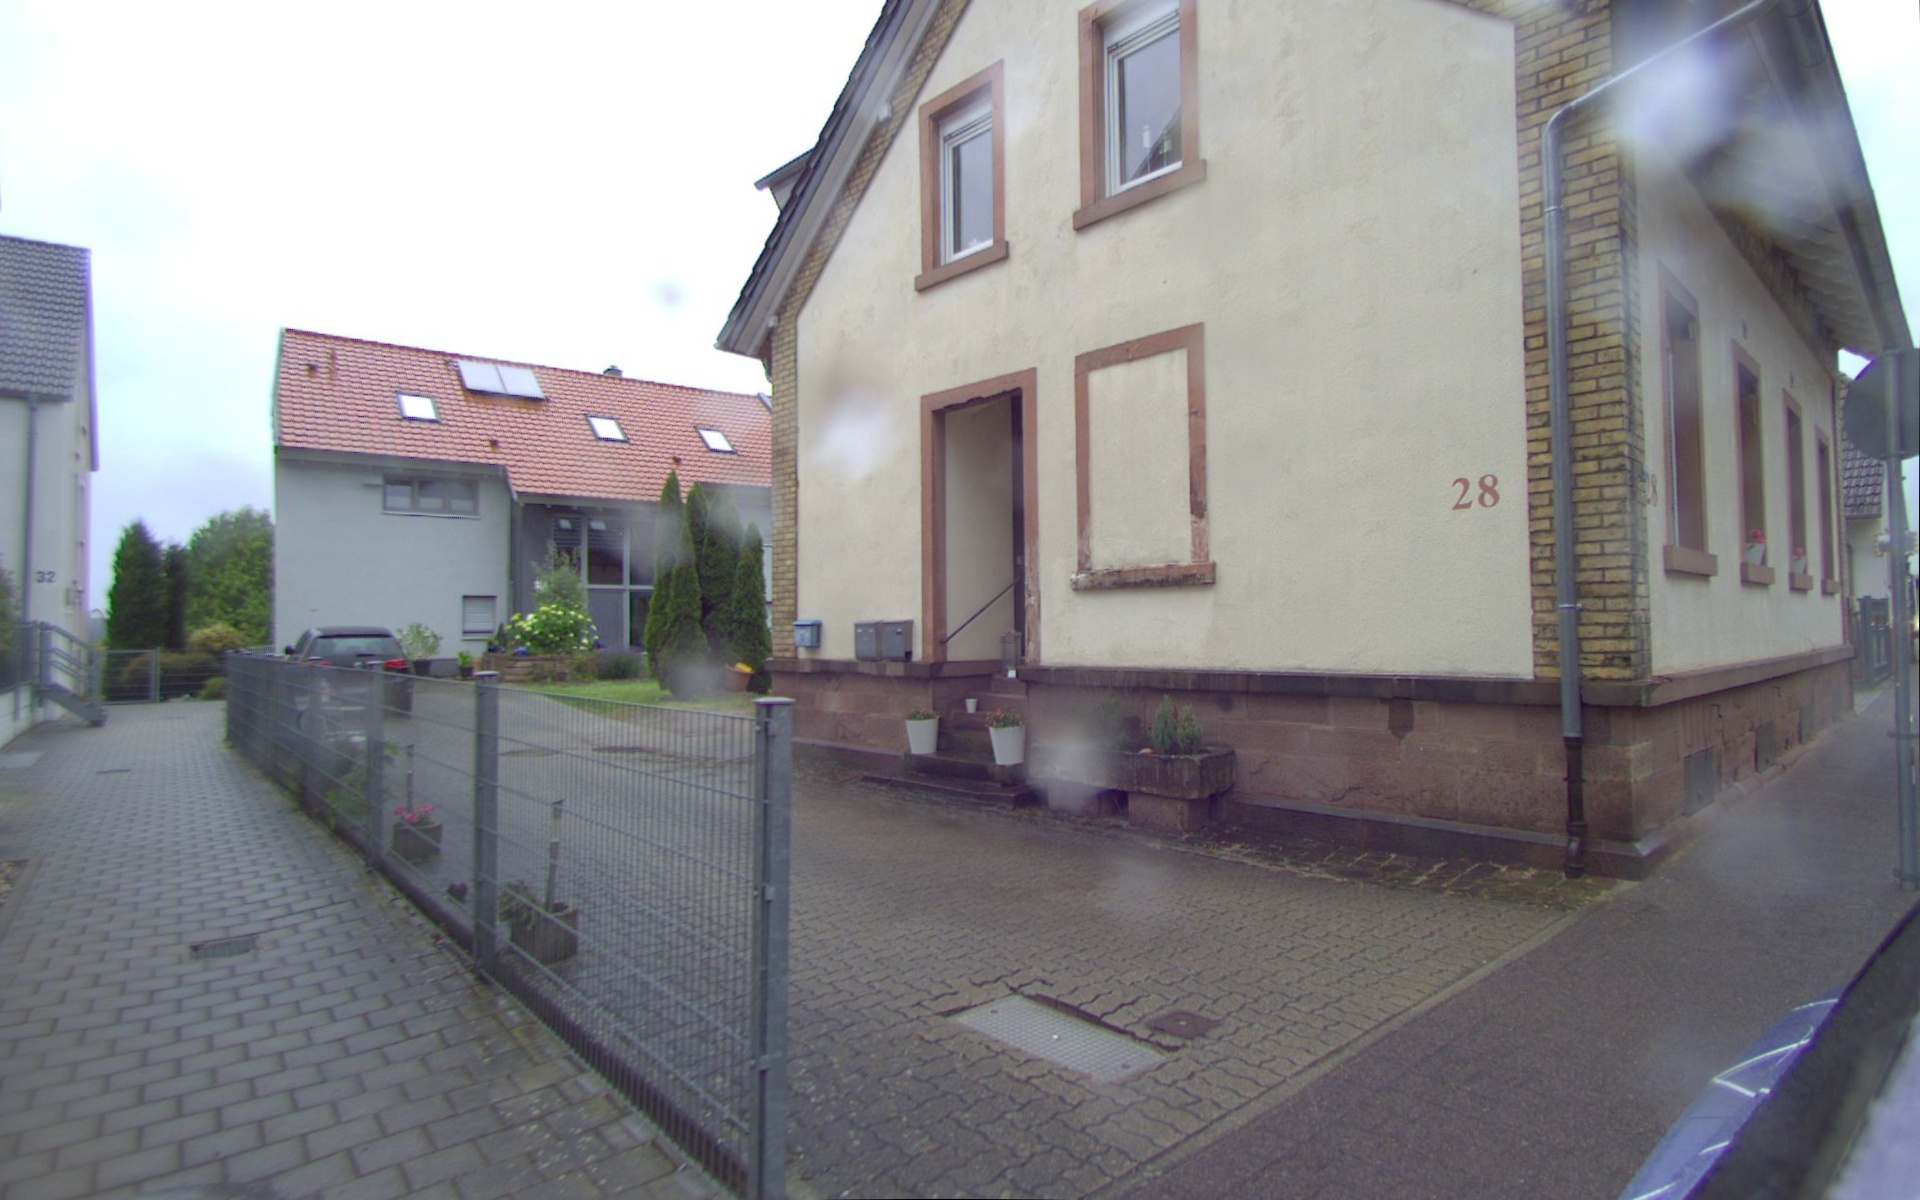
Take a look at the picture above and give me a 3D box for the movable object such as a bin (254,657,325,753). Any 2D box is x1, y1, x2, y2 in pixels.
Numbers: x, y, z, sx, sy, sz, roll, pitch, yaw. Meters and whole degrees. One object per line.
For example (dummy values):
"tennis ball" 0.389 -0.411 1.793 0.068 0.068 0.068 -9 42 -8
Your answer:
"movable object such as a bin" -8.358 1.285 12.617 0.675 1.110 0.535 0 -2 -41

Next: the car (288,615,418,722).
"car" -10.828 1.105 17.928 1.653 1.491 4.000 0 2 -36

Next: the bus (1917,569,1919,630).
"bus" 51.596 -0.004 52.427 2.660 3.273 12.004 -1 0 42

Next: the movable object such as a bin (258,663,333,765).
"movable object such as a bin" -7.815 1.319 11.899 0.675 1.110 0.535 0 -2 -41
